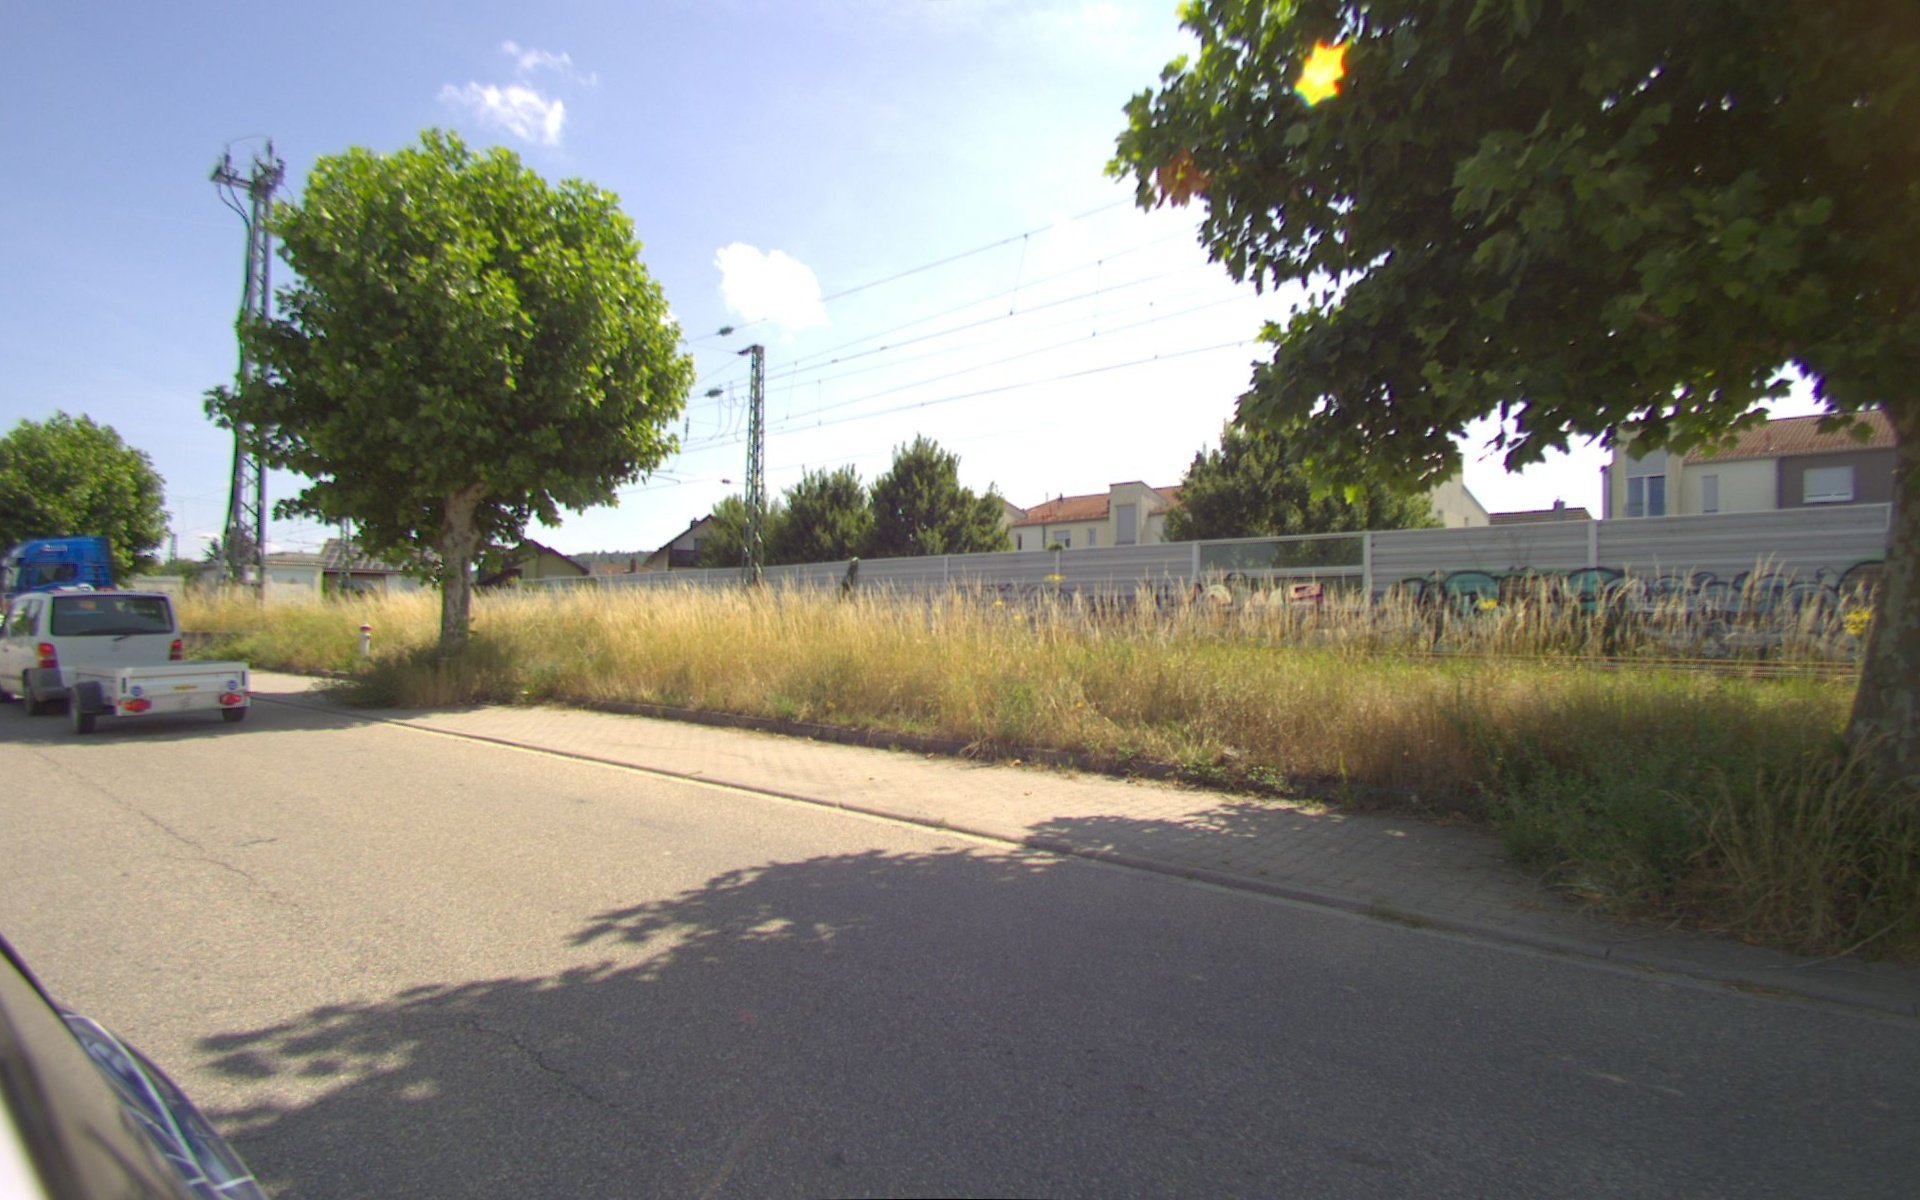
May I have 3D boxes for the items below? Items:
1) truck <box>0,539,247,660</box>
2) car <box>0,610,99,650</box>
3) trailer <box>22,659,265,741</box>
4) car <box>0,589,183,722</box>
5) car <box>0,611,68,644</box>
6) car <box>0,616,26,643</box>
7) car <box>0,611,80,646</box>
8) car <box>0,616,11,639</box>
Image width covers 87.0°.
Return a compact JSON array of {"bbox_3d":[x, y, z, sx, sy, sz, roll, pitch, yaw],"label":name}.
[{"bbox_3d":[-29.377,0.060,35.556,2.660,3.852,6.552,-1,-2,37],"label":"truck"},{"bbox_3d":[-39.508,1.282,43.172,1.847,1.630,3.934,-1,-2,36],"label":"car"},{"bbox_3d":[-11.001,1.257,13.533,4.220,0.857,1.799,-2,-4,41],"label":"trailer"},{"bbox_3d":[-14.326,0.825,16.414,4.481,1.872,1.819,-1,-1,40],"label":"car"},{"bbox_3d":[-45.563,1.306,48.266,1.924,1.544,4.295,-1,-1,39],"label":"car"},{"bbox_3d":[-53.848,1.615,55.367,1.787,1.461,3.901,-1,-2,44],"label":"car"},{"bbox_3d":[-43.419,1.298,46.671,1.997,1.559,3.949,0,-1,37],"label":"car"},{"bbox_3d":[-58.493,1.639,59.324,1.672,1.379,4.032,-2,-2,40],"label":"car"}]
